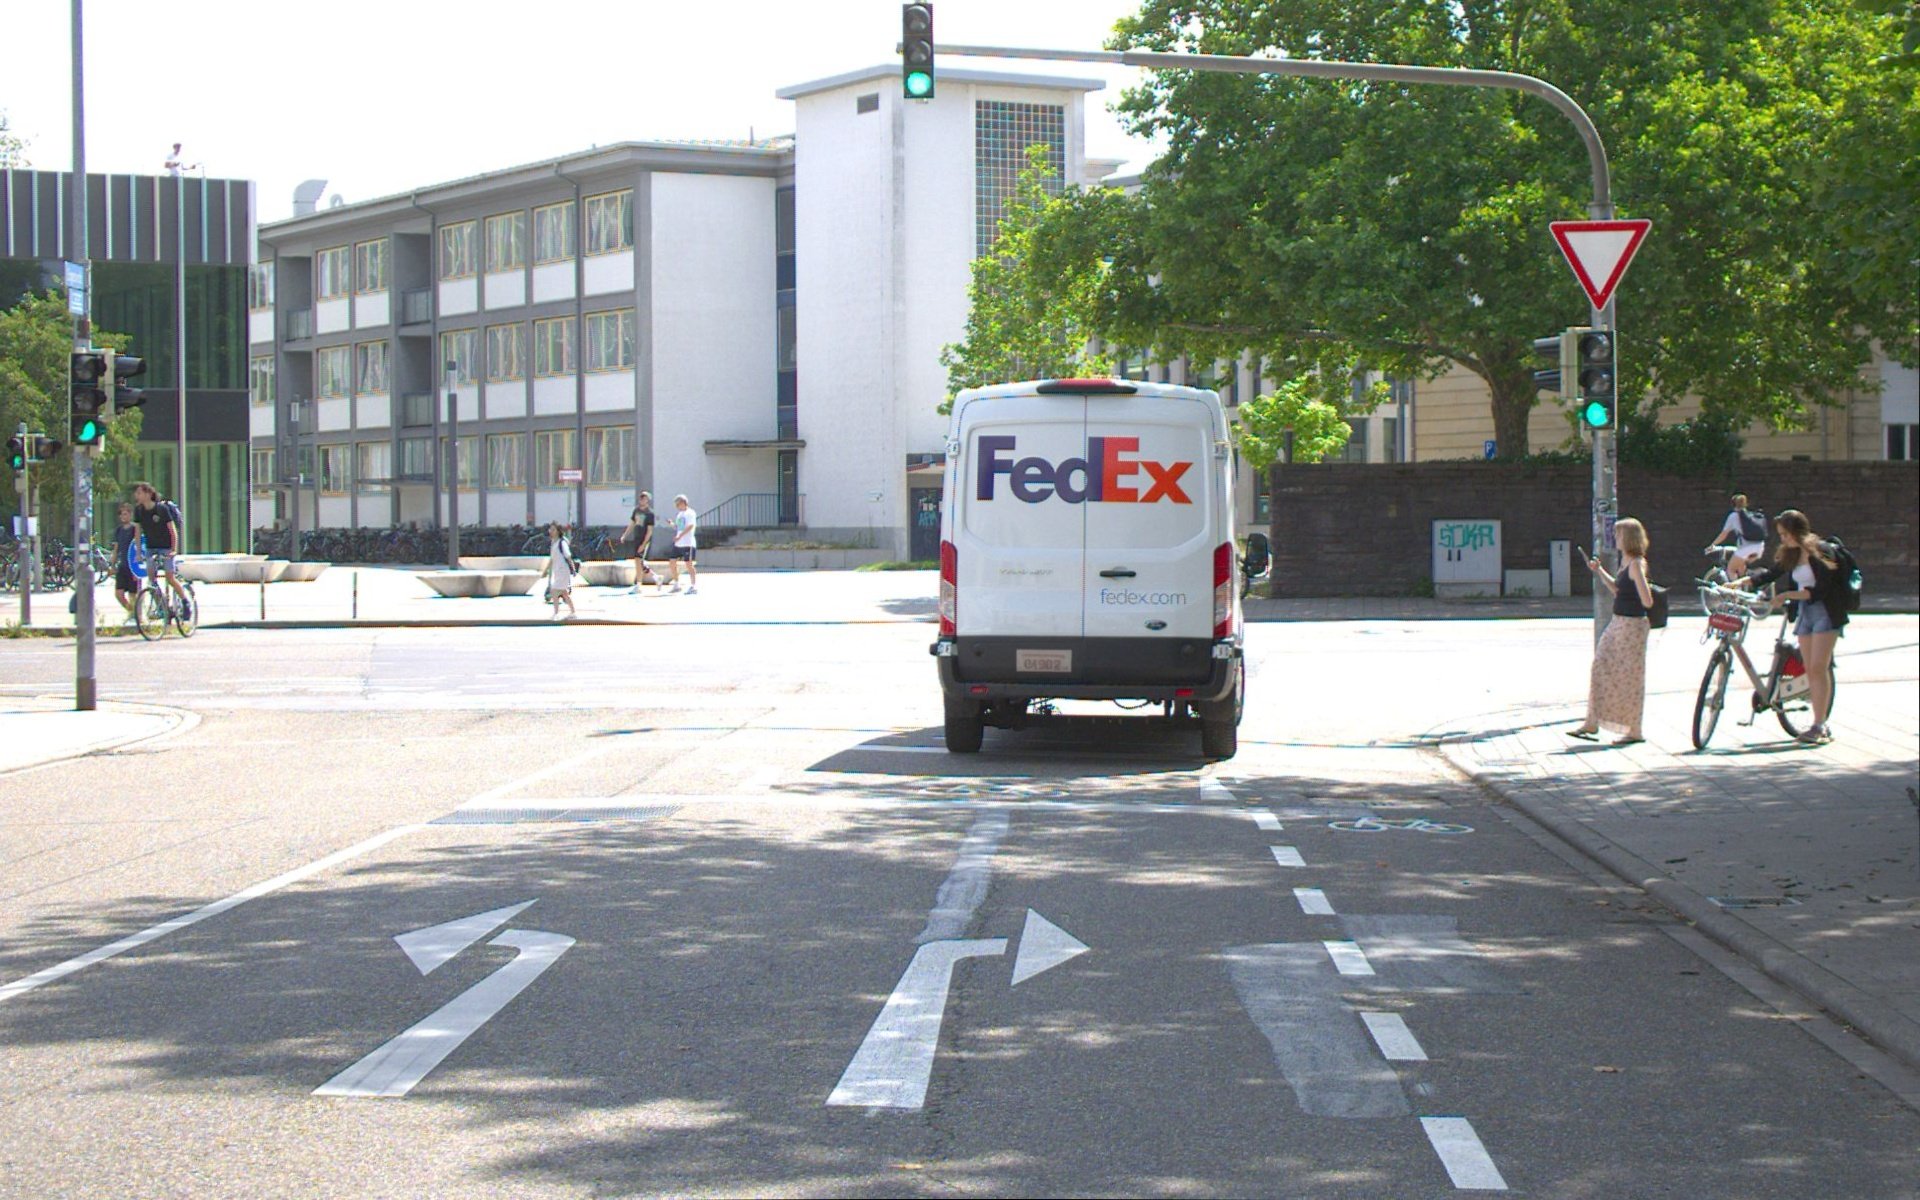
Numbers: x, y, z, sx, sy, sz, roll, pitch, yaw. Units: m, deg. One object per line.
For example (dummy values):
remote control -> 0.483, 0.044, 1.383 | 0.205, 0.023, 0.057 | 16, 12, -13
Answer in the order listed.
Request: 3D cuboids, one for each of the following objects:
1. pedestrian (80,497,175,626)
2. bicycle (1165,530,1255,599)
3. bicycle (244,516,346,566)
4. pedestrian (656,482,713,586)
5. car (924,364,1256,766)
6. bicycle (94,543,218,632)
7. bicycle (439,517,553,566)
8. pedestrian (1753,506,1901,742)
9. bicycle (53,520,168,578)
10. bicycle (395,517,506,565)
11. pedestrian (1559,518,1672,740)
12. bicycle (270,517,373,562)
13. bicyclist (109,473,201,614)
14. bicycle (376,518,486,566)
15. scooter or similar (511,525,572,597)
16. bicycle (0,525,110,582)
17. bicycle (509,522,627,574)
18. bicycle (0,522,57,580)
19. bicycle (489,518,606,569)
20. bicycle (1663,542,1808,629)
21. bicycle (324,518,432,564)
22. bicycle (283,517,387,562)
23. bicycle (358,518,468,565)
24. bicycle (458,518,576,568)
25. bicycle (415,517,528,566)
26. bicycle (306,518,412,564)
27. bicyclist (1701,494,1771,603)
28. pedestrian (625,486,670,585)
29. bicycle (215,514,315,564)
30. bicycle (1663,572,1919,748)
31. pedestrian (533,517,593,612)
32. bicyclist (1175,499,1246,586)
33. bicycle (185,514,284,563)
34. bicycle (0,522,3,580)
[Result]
pedestrian -> -12.223, -0.574, 50.511 | 0.831, 1.864, 1.083 | 0, 1, 26
bicycle -> 4.249, -0.612, 58.257 | 0.848, 1.141, 1.993 | 0, 2, 25
bicycle -> -20.864, -1.853, 107.905 | 2.956, 1.569, 1.117 | 0, 1, -35
pedestrian -> -5.045, -1.207, 62.999 | 0.865, 1.882, 0.913 | -1, 1, -17
car -> 0.924, -0.301, 24.958 | 2.095, 2.558, 5.602 | 1, 2, 2
bicycle -> -10.481, -0.176, 44.877 | 0.771, 1.118, 2.025 | 0, 1, 12
bicycle -> -12.925, -1.621, 95.729 | 2.956, 1.359, 1.117 | 0, 1, -35
pedestrian -> 5.975, 0.164, 23.721 | 0.731, 1.570, 0.727 | -3, 0, -4
bicycle -> -18.843, -1.139, 76.210 | 1.197, 1.233, 2.950 | 0, 1, -43
bicycle -> -14.520, -1.681, 98.031 | 2.956, 1.359, 1.117 | 0, 1, -35
pedestrian -> 4.722, 0.197, 24.800 | 0.731, 1.570, 0.775 | -1, 1, 7
bicycle -> -19.835, -1.873, 106.788 | 2.956, 1.359, 1.117 | 0, 1, -35
bicyclist -> -10.481, -0.737, 44.799 | 0.790, 1.811, 0.999 | 0, 2, 13
bicycle -> -15.246, -1.679, 99.123 | 2.956, 1.359, 1.117 | 0, 1, -35
scooter or similar -> -7.284, -0.688, 59.696 | 0.716, 1.174, 2.726 | -1, 2, -14
bicycle -> -19.925, -1.028, 75.410 | 1.197, 1.233, 2.950 | 0, 1, -43
bicycle -> -10.503, -1.397, 92.227 | 2.956, 1.359, 1.117 | 0, 1, -35
bicycle -> -20.904, -1.078, 74.736 | 1.197, 1.233, 2.950 | 0, 1, -43
bicycle -> -11.197, -1.530, 93.361 | 2.956, 1.359, 1.117 | 0, 1, -35
bicycle -> 10.430, -0.210, 46.298 | 0.550, 1.127, 2.174 | -1, 1, -31
bicycle -> -17.283, -1.749, 102.149 | 2.956, 1.359, 1.117 | 0, 1, -35
bicycle -> -19.181, -1.845, 105.574 | 2.956, 1.359, 1.117 | 0, 1, -35
bicycle -> -15.932, -1.700, 100.182 | 2.956, 1.359, 1.117 | 0, 1, -35
bicycle -> -12.192, -1.563, 94.676 | 2.956, 1.359, 1.275 | 0, 1, -35
bicycle -> -13.773, -1.657, 96.936 | 2.956, 1.359, 1.117 | 0, 1, -35
bicycle -> -18.121, -1.785, 103.677 | 2.956, 1.359, 1.117 | 0, 1, -35
bicyclist -> 10.446, -0.695, 46.272 | 0.514, 1.447, 0.787 | -1, 1, -31
pedestrian -> -5.803, -1.199, 63.777 | 0.668, 1.808, 0.816 | -1, 1, -17
bicycle -> -22.410, -1.958, 110.827 | 2.956, 1.569, 1.117 | 0, 1, -35
bicycle -> 5.825, 0.408, 23.784 | 1.736, 1.123, 0.594 | -3, 0, -4
pedestrian -> -6.410, -0.577, 55.436 | 0.824, 1.518, 0.815 | -1, 1, -17
bicyclist -> 4.239, -0.982, 58.215 | 0.850, 1.463, 1.067 | 0, 2, 26
bicycle -> -23.765, -2.013, 112.610 | 2.956, 1.569, 1.117 | 0, 1, -35
bicycle -> -21.811, -1.060, 73.867 | 1.197, 1.233, 2.950 | 0, 1, -43
